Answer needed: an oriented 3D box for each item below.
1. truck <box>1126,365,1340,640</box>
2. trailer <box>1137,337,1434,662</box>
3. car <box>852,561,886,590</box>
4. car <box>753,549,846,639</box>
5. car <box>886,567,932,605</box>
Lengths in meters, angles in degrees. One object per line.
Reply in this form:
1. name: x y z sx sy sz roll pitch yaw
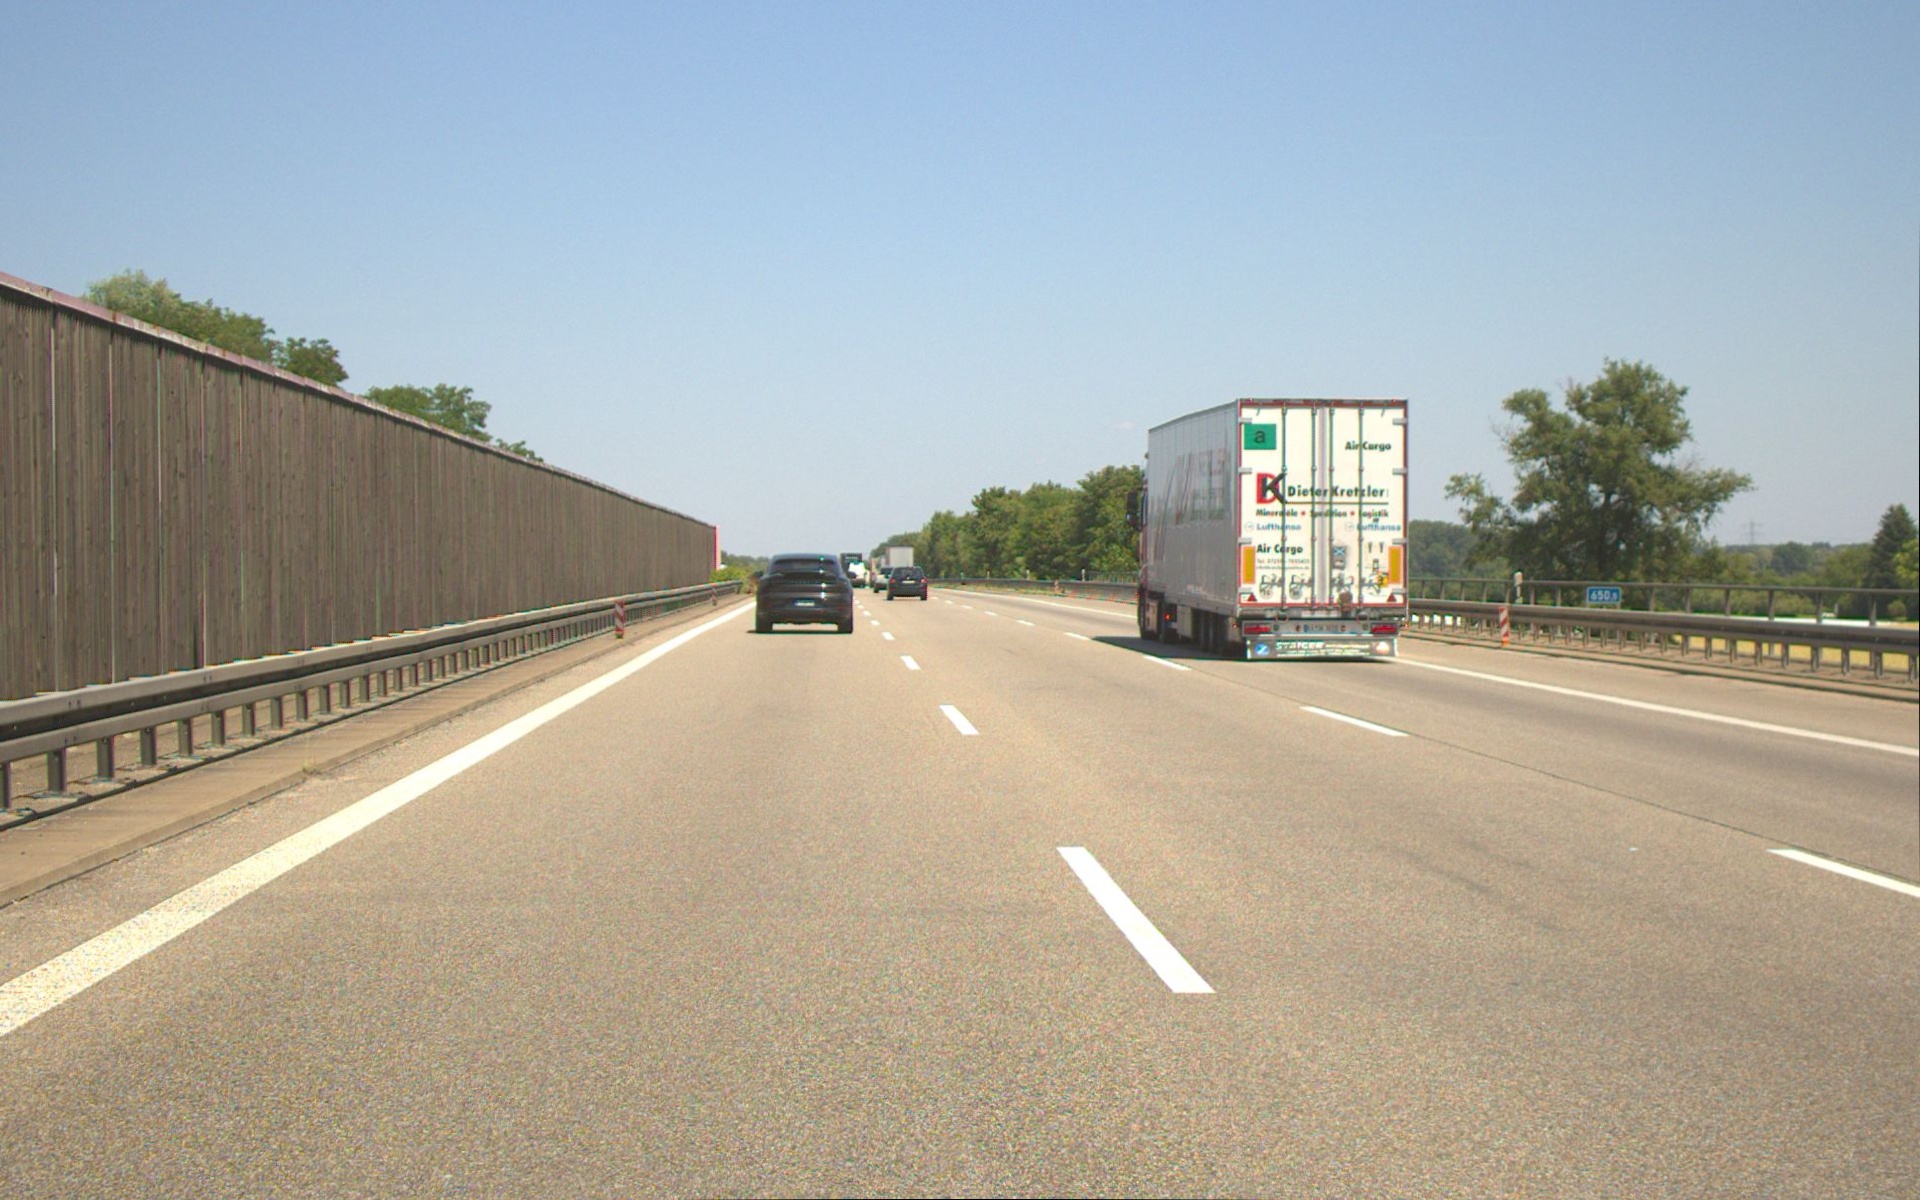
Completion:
1. truck: 5.048 -1.801 64.904 3.234 4.872 6.972 1 1 -2
2. trailer: 5.231 -1.609 58.463 3.269 4.821 14.030 1 1 -2
3. car: -5.217 -1.382 197.080 1.903 1.578 4.304 -1 0 -2
4. car: -3.355 -0.157 71.349 1.880 1.786 4.001 0 1 -3
5. car: -2.202 -0.580 147.082 1.903 1.578 4.304 -1 0 -2
